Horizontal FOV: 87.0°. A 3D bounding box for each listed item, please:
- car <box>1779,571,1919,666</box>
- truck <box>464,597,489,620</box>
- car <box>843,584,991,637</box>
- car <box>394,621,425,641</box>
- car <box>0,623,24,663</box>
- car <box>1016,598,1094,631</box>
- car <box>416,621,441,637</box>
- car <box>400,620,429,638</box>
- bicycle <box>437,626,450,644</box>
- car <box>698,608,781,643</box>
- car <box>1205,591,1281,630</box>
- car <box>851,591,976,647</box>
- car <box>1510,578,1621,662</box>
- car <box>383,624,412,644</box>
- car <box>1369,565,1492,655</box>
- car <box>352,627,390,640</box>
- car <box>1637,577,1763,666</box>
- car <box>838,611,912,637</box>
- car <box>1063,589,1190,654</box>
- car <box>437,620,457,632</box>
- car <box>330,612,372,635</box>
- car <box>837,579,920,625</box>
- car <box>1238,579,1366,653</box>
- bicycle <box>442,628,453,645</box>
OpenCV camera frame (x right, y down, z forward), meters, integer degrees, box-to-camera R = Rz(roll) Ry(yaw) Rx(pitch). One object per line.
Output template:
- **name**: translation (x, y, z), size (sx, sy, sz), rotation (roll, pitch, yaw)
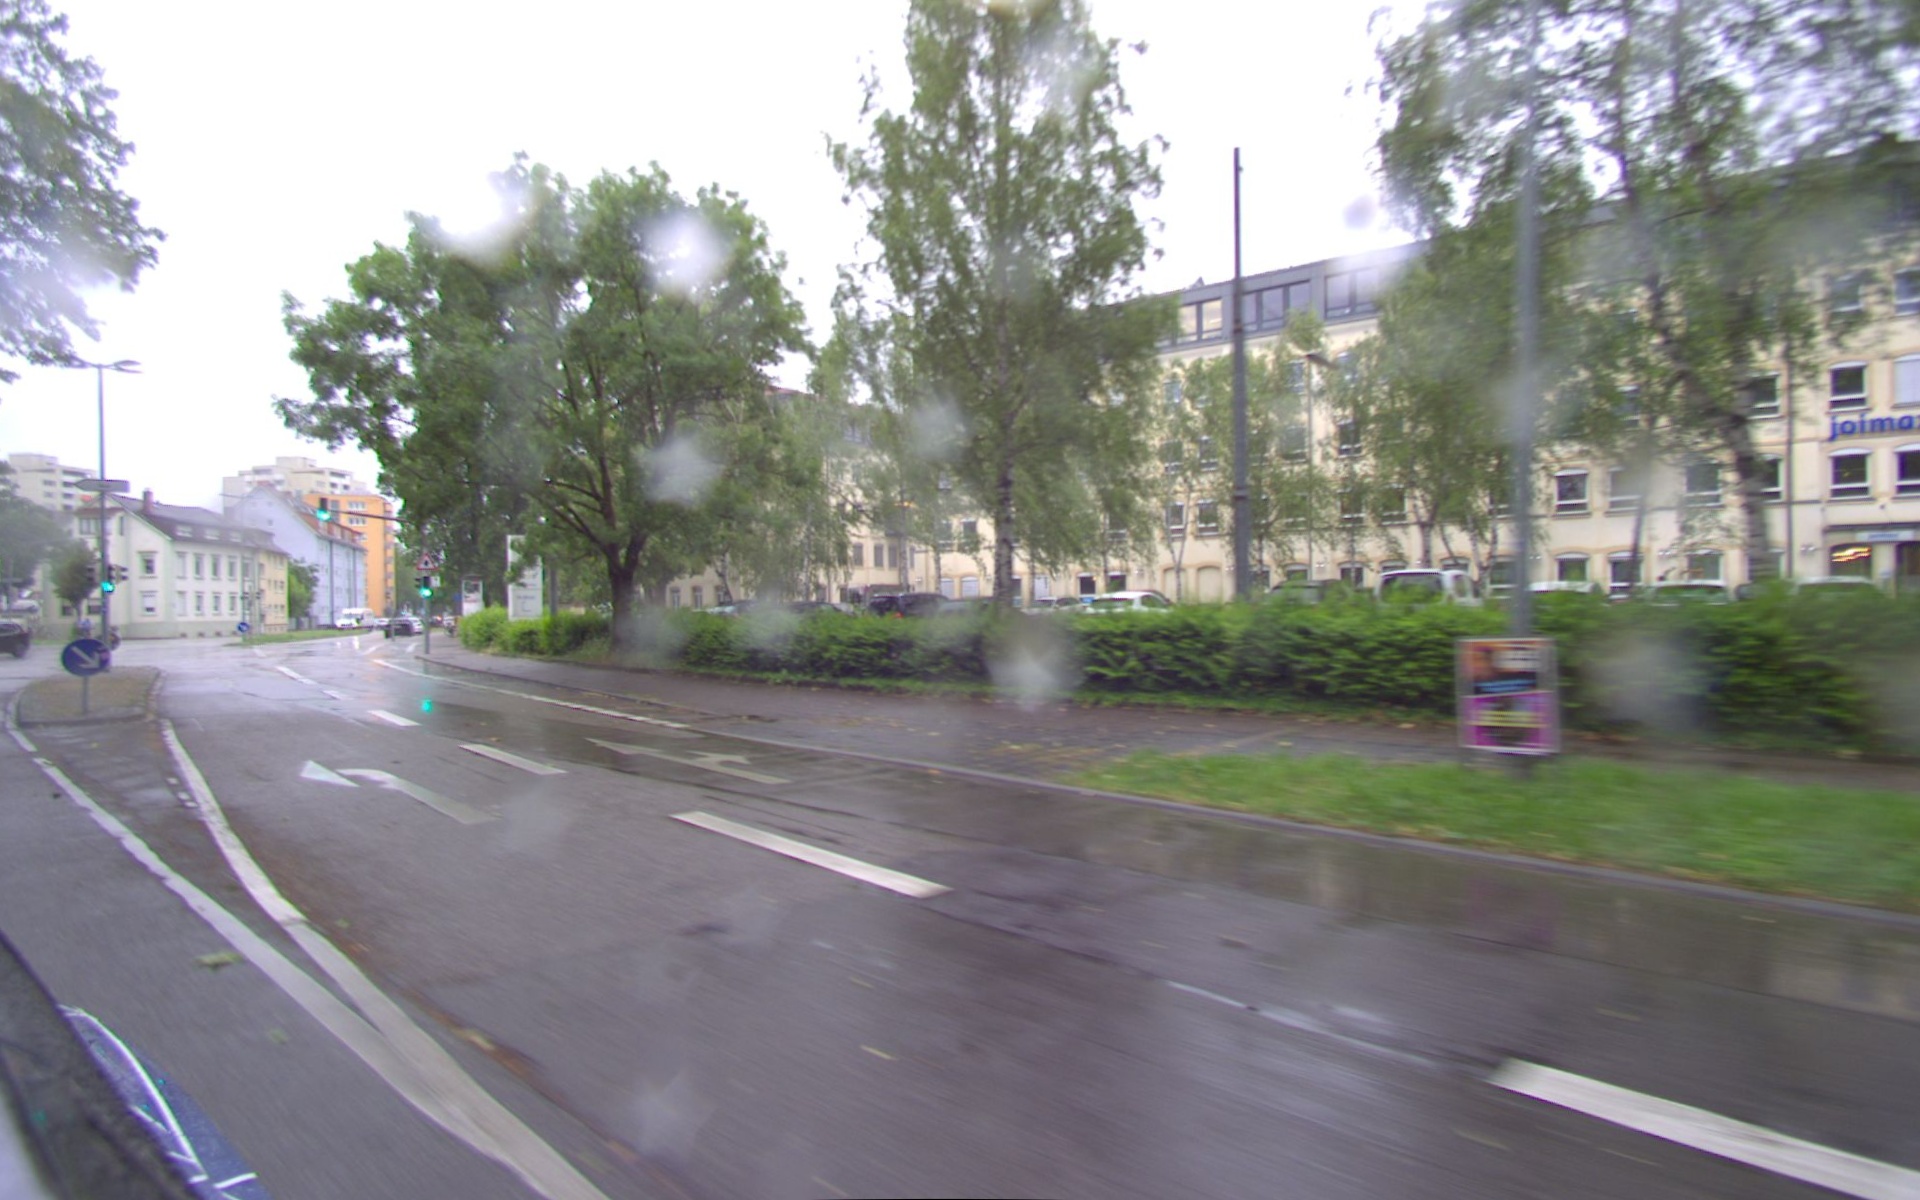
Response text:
- **car**: translation (16.895, 0.301, 19.341), size (1.852, 1.611, 3.948), rotation (-2, 0, 38)
- **truck**: translation (-99.550, 1.749, 208.604), size (3.769, 4.418, 10.820), rotation (-2, 0, -22)
- **car**: translation (-1.185, 0.280, 28.723), size (3.937, 1.349, 1.719), rotation (-2, 0, -40)
- **car**: translation (-47.699, 2.675, 87.817), size (1.965, 1.579, 4.013), rotation (-2, 0, -23)
- **car**: translation (-40.238, 1.798, 41.189), size (1.801, 1.641, 4.013), rotation (-2, 0, -21)
- **car**: translation (4.658, 0.712, 49.111), size (1.996, 1.530, 3.951), rotation (-2, -1, 36)
- **car**: translation (-55.927, 3.033, 106.534), size (1.965, 1.579, 4.013), rotation (-2, 0, -23)
- **car**: translation (-50.058, 2.663, 92.912), size (1.965, 1.579, 4.013), rotation (-2, 0, -23)
- **bicycle**: translation (-35.040, 2.383, 68.656), size (0.687, 1.195, 1.629), rotation (-2, 0, -28)
- **car**: translation (-11.178, 1.285, 51.157), size (4.011, 1.699, 1.763), rotation (-2, -1, 32)
- **car**: translation (11.899, 0.436, 42.386), size (1.779, 1.564, 3.950), rotation (-2, -1, 37)
- **car**: translation (-1.432, 0.586, 32.219), size (1.651, 1.623, 3.944), rotation (-2, 0, 42)
- **car**: translation (12.910, 0.379, 21.474), size (1.715, 1.611, 3.773), rotation (-2, 0, 35)
- **car**: translation (-43.021, 2.556, 77.509), size (1.523, 1.408, 4.208), rotation (-3, 0, -24)
- **car**: translation (10.714, 0.203, 22.894), size (1.850, 1.847, 3.953), rotation (-2, 0, 35)
- **car**: translation (-79.484, 4.485, 136.630), size (4.102, 1.487, 1.656), rotation (-2, 0, -21)
- **car**: translation (15.062, 0.386, 20.528), size (1.852, 1.611, 3.948), rotation (-2, 0, 38)
- **car**: translation (-5.445, 1.517, 64.459), size (4.525, 1.511, 1.975), rotation (-2, 0, 38)
- **car**: translation (4.720, 0.572, 28.303), size (1.995, 1.651, 3.953), rotation (-2, 0, 35)
- **car**: translation (-63.454, 3.180, 125.146), size (1.965, 1.431, 4.013), rotation (-2, 0, -23)
- **car**: translation (-63.639, 2.430, 105.802), size (2.160, 2.272, 4.896), rotation (-2, 0, -11)
- **car**: translation (-6.033, 0.116, 76.022), size (2.833, 3.218, 6.141), rotation (-2, 0, 36)
- **car**: translation (8.482, 0.359, 24.930), size (1.707, 1.651, 3.948), rotation (-2, 0, 38)
- **bicycle**: translation (-33.254, 2.346, 65.657), size (0.547, 1.085, 1.801), rotation (-2, 0, -28)
